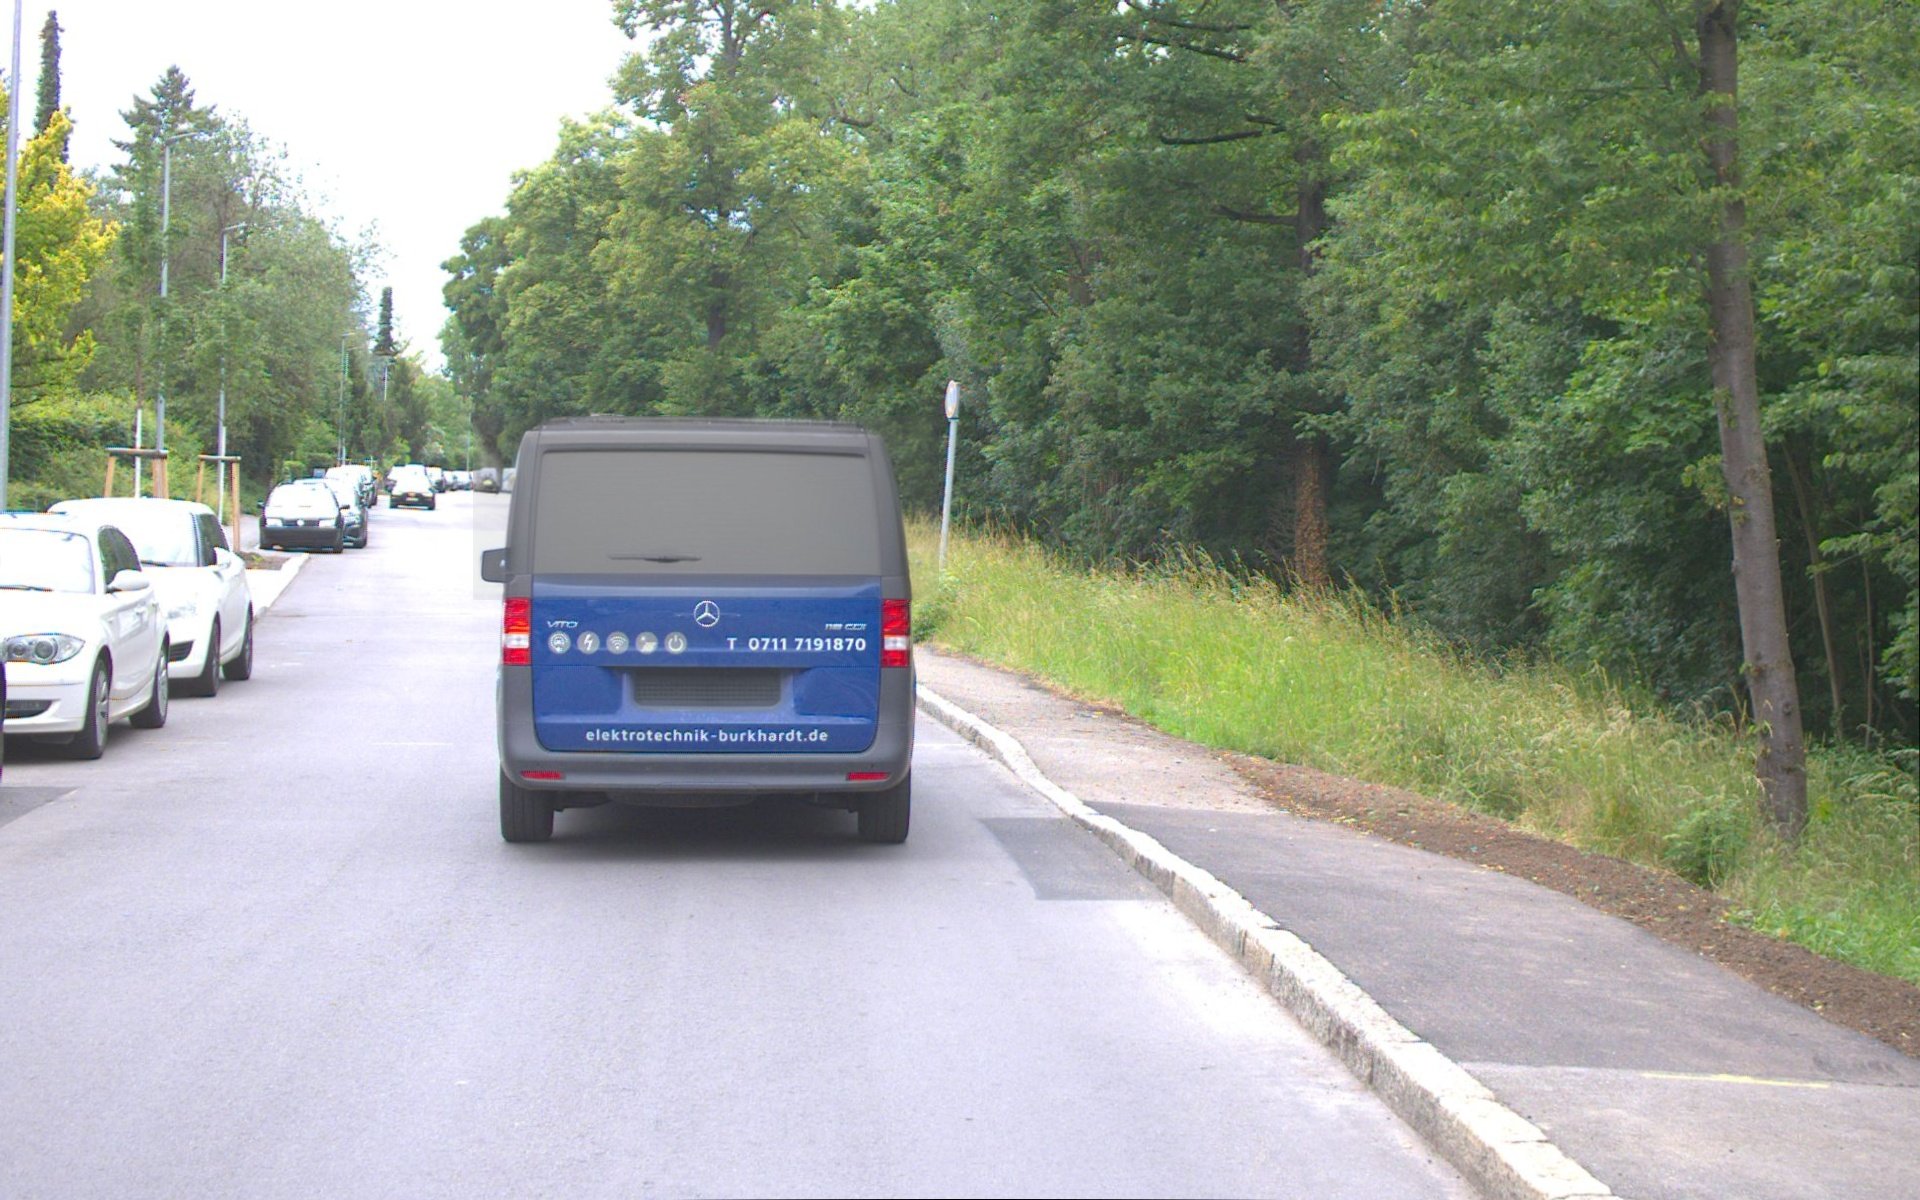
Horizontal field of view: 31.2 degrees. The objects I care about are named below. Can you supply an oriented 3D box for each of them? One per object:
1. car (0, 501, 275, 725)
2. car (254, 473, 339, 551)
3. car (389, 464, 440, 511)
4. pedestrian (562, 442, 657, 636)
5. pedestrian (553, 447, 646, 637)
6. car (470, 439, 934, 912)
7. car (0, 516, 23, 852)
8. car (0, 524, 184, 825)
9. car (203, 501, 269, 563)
[{"bbox_3d":[-6.537,0.038,27.085,1.798,1.561,4.317,0,2,-5],"label":"car"},{"bbox_3d":[-14.011,-1.872,72.453,1.623,1.546,4.002,1,2,-12],"label":"car"},{"bbox_3d":[-23.534,-4.848,148.415,1.993,1.634,4.001,5,-2,-9],"label":"car"},{"bbox_3d":[-3.804,-0.653,37.351,0.773,2.007,0.889,5,-2,-1],"label":"pedestrian"},{"bbox_3d":[-4.004,-0.638,38.224,0.773,2.007,0.889,5,-2,-1],"label":"pedestrian"},{"bbox_3d":[-1.222,0.218,15.820,1.828,1.872,4.317,0,2,-5],"label":"car"},{"bbox_3d":[-5.493,0.478,15.367,1.798,1.649,4.317,0,2,-5],"label":"car"},{"bbox_3d":[-5.920,0.361,20.897,1.798,1.561,4.317,0,2,-5],"label":"car"},{"bbox_3d":[-19.086,-1.807,90.575,1.623,1.546,4.002,1,2,-12],"label":"car"}]
